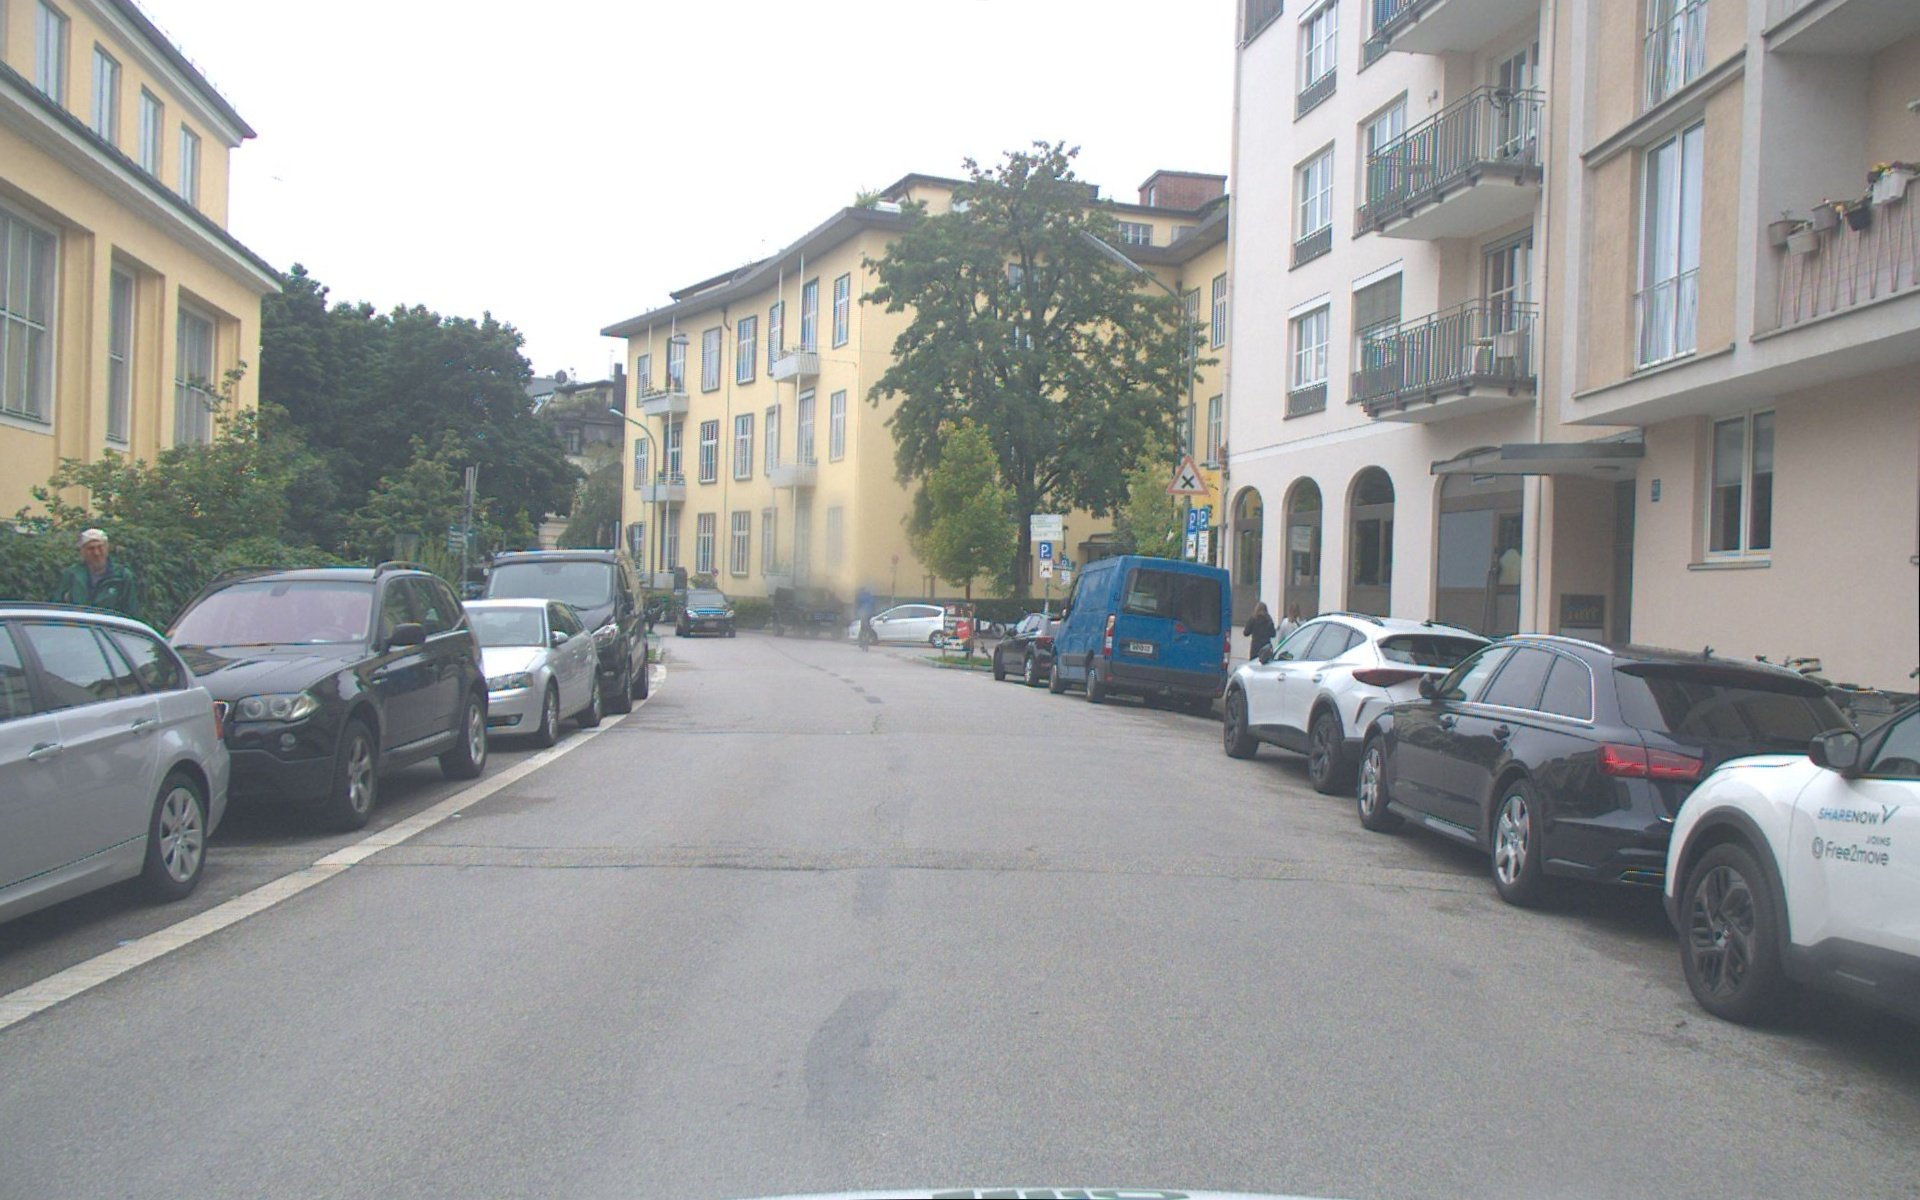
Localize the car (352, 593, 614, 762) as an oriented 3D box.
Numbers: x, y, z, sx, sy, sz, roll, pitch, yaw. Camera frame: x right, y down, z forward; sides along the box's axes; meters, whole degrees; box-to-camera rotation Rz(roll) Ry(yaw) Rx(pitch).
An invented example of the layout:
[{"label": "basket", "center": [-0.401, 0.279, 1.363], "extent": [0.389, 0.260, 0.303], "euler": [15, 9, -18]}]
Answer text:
[{"label": "car", "center": [-4.728, 0.691, 16.961], "extent": [1.673, 1.389, 3.999], "euler": [-3, 1, -3]}]

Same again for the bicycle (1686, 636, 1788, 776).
[{"label": "bicycle", "center": [7.286, 0.970, 15.556], "extent": [0.404, 1.223, 1.283], "euler": [-2, 0, 5]}]

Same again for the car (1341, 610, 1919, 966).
[{"label": "car", "center": [3.845, 0.912, 10.161], "extent": [1.737, 1.453, 4.692], "euler": [6, 0, -1]}]

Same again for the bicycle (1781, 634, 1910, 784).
[{"label": "bicycle", "center": [7.769, 0.926, 14.561], "extent": [0.437, 1.223, 1.395], "euler": [-2, 0, 5]}]

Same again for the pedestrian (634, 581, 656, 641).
[{"label": "pedestrian", "center": [-9.225, 0.321, 48.440], "extent": [0.534, 1.726, 0.662], "euler": [0, 1, -21]}]

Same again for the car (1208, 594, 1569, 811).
[{"label": "car", "center": [3.836, 0.839, 15.651], "extent": [1.742, 1.549, 4.298], "euler": [6, 0, -7]}]

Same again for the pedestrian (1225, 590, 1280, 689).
[{"label": "pedestrian", "center": [5.016, 0.674, 28.403], "extent": [0.666, 1.657, 0.827], "euler": [1, -1, -11]}]

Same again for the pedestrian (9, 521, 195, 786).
[{"label": "pedestrian", "center": [-6.028, 0.360, 11.667], "extent": [0.826, 1.785, 0.872], "euler": [1, 0, -1]}]

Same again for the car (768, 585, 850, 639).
[{"label": "car", "center": [-5.849, 0.430, 63.697], "extent": [1.848, 1.920, 4.586], "euler": [1, 1, -23]}]

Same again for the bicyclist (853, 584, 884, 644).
[{"label": "bicyclist", "center": [-2.801, 0.427, 50.665], "extent": [0.895, 1.795, 1.215], "euler": [1, 0, -2]}]

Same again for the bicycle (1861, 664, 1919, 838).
[{"label": "bicycle", "center": [7.167, 1.107, 11.969], "extent": [0.438, 1.223, 1.369], "euler": [-2, 0, -4]}]

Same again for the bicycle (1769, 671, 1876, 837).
[{"label": "bicycle", "center": [7.134, 1.241, 13.730], "extent": [0.388, 1.223, 1.568], "euler": [-2, 0, 14]}]

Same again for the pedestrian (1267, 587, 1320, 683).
[{"label": "pedestrian", "center": [5.752, 0.596, 28.555], "extent": [0.698, 1.633, 0.699], "euler": [0, 0, -9]}]

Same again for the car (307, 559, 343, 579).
[{"label": "car", "center": [-54.787, -2.672, 142.776], "extent": [1.976, 1.628, 4.203], "euler": [1, 1, -34]}]

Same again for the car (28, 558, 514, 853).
[{"label": "car", "center": [-4.553, 0.578, 11.731], "extent": [1.668, 1.634, 4.489], "euler": [-2, 1, -2]}]

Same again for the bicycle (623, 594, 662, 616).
[{"label": "bicycle", "center": [-16.000, 0.273, 83.365], "extent": [0.608, 1.046, 1.965], "euler": [1, 0, 43]}]

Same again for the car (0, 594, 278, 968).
[{"label": "car", "center": [-4.535, 0.731, 6.598], "extent": [1.767, 1.401, 4.490], "euler": [-3, 0, -1]}]

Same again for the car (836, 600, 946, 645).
[{"label": "car", "center": [-2.377, 0.775, 57.594], "extent": [3.637, 1.431, 1.754], "euler": [1, 0, 4]}]

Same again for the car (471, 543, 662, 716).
[{"label": "car", "center": [-5.101, 0.312, 22.020], "extent": [1.888, 2.013, 4.616], "euler": [-1, 1, -7]}]

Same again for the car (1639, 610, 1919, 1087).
[{"label": "car", "center": [3.947, 0.885, 5.171], "extent": [1.668, 1.493, 4.118], "euler": [6, 0, -3]}]

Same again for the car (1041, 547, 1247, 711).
[{"label": "car", "center": [2.890, 0.496, 27.278], "extent": [2.070, 2.252, 5.019], "euler": [6, -2, -7]}]

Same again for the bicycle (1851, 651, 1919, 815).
[{"label": "bicycle", "center": [7.610, 1.040, 13.111], "extent": [0.408, 1.223, 1.285], "euler": [-2, 0, 3]}]

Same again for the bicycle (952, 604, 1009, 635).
[{"label": "bicycle", "center": [0.792, 0.746, 63.743], "extent": [2.122, 1.135, 0.641], "euler": [1, 0, 7]}]

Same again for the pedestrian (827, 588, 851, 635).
[{"label": "pedestrian", "center": [-4.672, 0.442, 63.903], "extent": [0.832, 1.788, 0.952], "euler": [1, 1, -8]}]

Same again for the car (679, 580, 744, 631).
[{"label": "car", "center": [-9.251, 0.171, 61.370], "extent": [1.960, 1.749, 4.598], "euler": [1, 1, -14]}]

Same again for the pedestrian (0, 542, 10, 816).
[{"label": "pedestrian", "center": [-6.197, 0.480, 9.755], "extent": [0.669, 1.681, 0.872], "euler": [1, 0, -2]}]

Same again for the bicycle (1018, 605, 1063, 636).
[{"label": "bicycle", "center": [3.079, 0.795, 63.653], "extent": [1.652, 1.150, 0.459], "euler": [1, 0, -11]}]

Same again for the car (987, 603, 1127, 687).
[{"label": "car", "center": [1.883, 0.870, 33.326], "extent": [1.685, 1.419, 3.987], "euler": [5, -1, -13]}]

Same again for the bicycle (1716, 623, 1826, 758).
[{"label": "bicycle", "center": [7.843, 0.846, 16.036], "extent": [0.437, 1.223, 1.395], "euler": [-2, 0, 5]}]

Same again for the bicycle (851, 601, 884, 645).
[{"label": "bicycle", "center": [-2.815, 0.697, 50.653], "extent": [0.902, 1.274, 2.321], "euler": [1, 1, -2]}]

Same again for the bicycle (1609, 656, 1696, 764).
[{"label": "bicycle", "center": [7.821, 1.222, 18.715], "extent": [0.361, 1.120, 1.346], "euler": [-2, 0, -1]}]

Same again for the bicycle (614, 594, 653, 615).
[{"label": "bicycle", "center": [-16.582, 0.242, 83.945], "extent": [0.608, 1.046, 1.965], "euler": [1, 0, 43]}]
